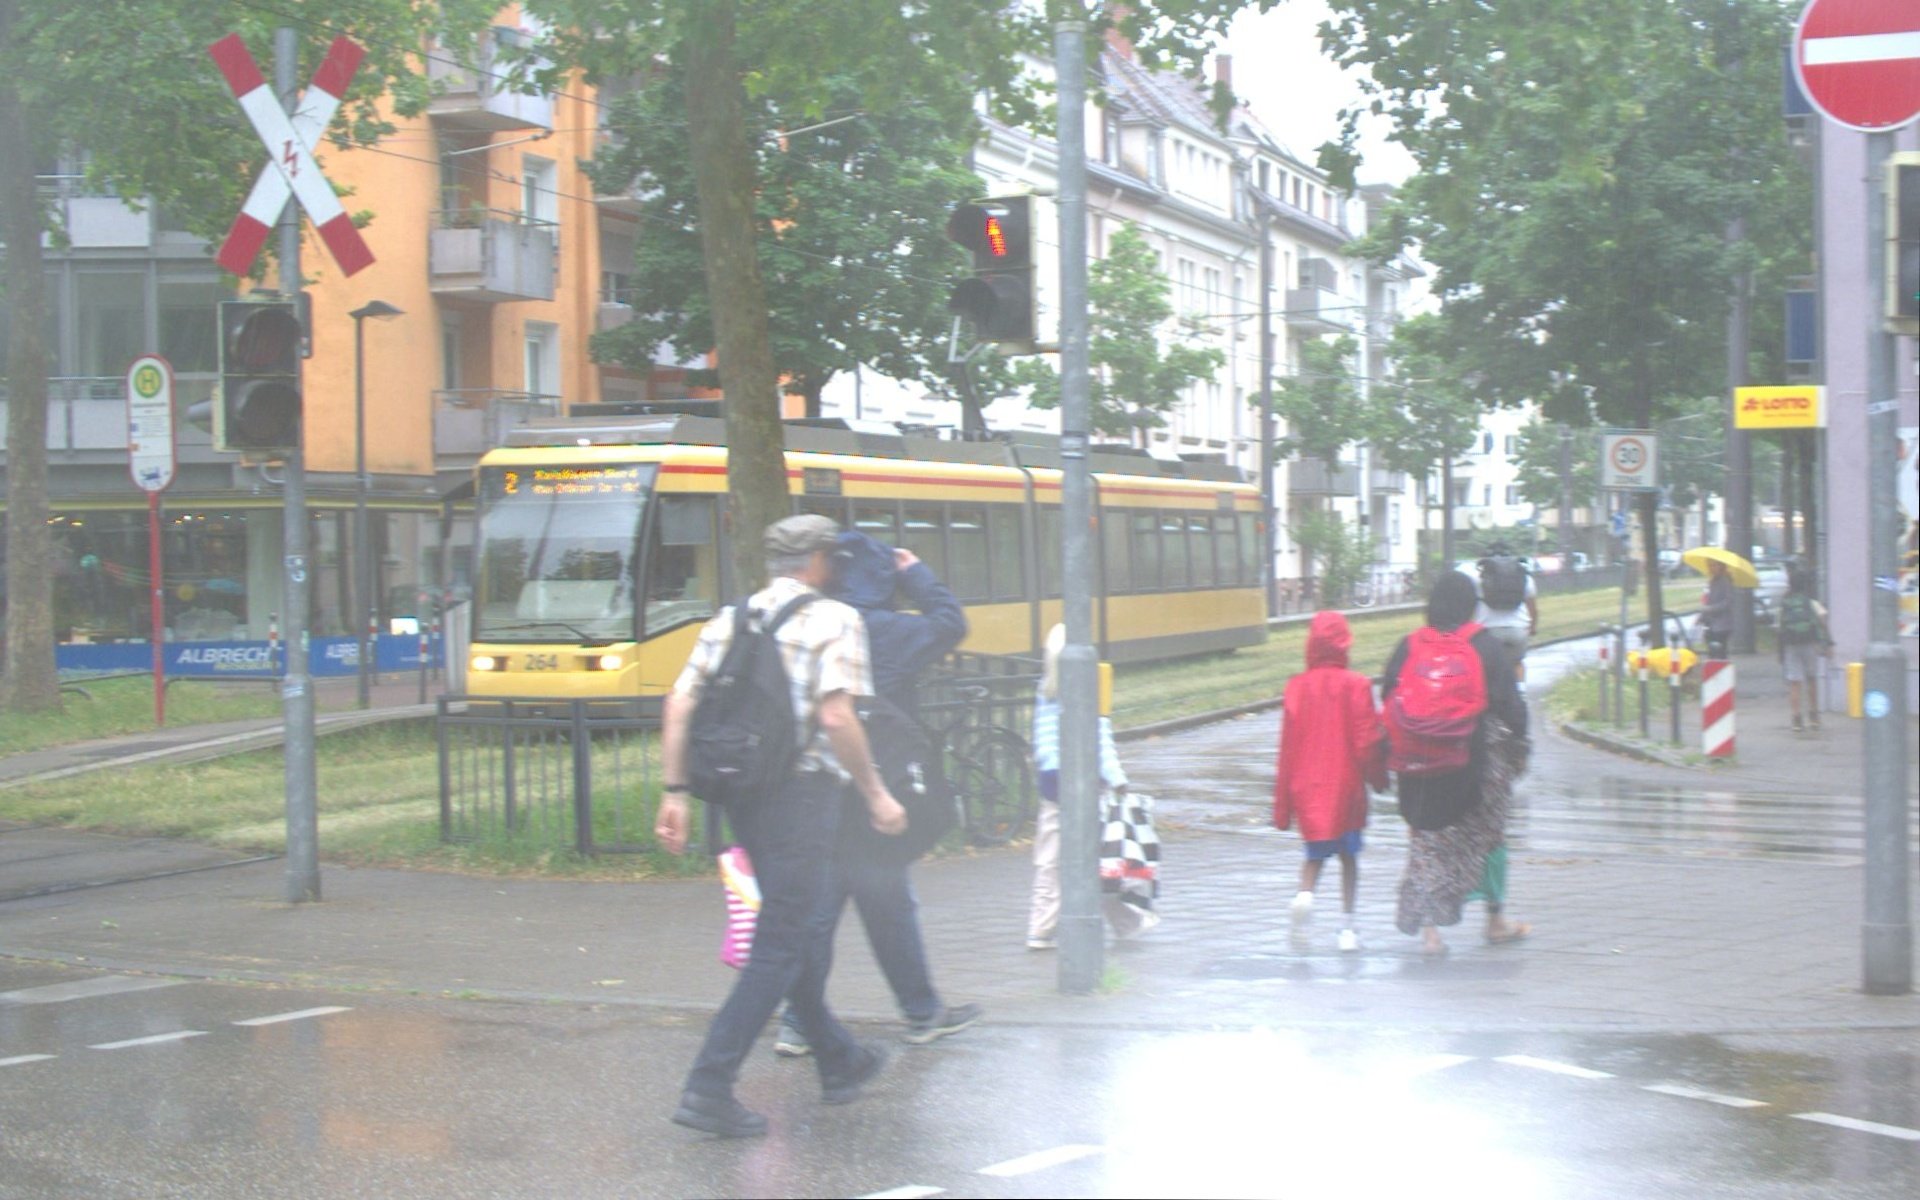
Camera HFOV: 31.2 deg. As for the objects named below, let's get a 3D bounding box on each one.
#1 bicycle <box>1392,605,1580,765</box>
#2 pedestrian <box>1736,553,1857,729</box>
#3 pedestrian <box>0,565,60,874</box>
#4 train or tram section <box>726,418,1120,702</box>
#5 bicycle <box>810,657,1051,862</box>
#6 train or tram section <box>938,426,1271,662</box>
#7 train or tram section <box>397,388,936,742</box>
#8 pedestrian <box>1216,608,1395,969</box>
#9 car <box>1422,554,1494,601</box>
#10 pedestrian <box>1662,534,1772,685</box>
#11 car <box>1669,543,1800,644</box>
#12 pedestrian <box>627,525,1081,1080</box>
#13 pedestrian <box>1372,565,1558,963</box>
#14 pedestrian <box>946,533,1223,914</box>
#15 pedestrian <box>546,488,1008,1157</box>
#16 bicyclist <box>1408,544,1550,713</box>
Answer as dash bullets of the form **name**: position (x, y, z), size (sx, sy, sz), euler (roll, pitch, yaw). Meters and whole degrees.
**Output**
- **bicycle**: position (4.180, 0.652, 27.481), size (0.750, 1.169, 2.042), euler (-2, 1, -13)
- **pedestrian**: position (7.559, 0.367, 31.052), size (0.992, 1.554, 0.783), euler (-1, 1, 18)
- **pedestrian**: position (-6.099, 0.693, 20.188), size (1.235, 1.782, 1.036), euler (0, 1, 40)
- **train or tram section**: position (-0.282, -0.529, 44.926), size (2.640, 3.340, 8.369), euler (0, 1, 18)
- **bicycle**: position (-0.150, 0.889, 19.666), size (0.446, 1.073, 1.615), euler (0, 1, 39)
- **train or tram section**: position (2.468, -0.861, 53.681), size (2.640, 3.340, 9.979), euler (0, 1, 18)
- **train or tram section**: position (-2.881, -0.390, 36.992), size (2.640, 3.358, 8.369), euler (0, 1, 19)
- **pedestrian**: position (1.409, 0.744, 14.000), size (0.671, 1.377, 1.010), euler (-1, 1, 6)
- **car**: position (16.420, -0.756, 113.278), size (1.995, 1.527, 3.998), euler (0, 1, 13)
- **pedestrian**: position (8.637, 0.103, 39.213), size (0.954, 1.691, 0.920), euler (0, 1, 31)
- **car**: position (13.653, -0.135, 60.455), size (1.995, 1.667, 3.997), euler (-1, 1, 16)
- **pedestrian**: position (-0.345, 0.611, 11.242), size (1.053, 1.680, 0.995), euler (-2, 2, -43)
- **pedestrian**: position (2.032, 0.645, 13.894), size (0.690, 1.542, 0.761), euler (-1, 1, 7)
- **pedestrian**: position (0.537, 0.489, 14.396), size (0.876, 1.520, 1.064), euler (-1, 1, 18)
- **pedestrian**: position (-0.516, 0.582, 9.804), size (0.811, 1.775, 0.992), euler (0, 2, 44)
- **bicyclist**: position (4.145, 0.215, 27.527), size (0.740, 1.305, 1.077), euler (-2, 1, -14)
